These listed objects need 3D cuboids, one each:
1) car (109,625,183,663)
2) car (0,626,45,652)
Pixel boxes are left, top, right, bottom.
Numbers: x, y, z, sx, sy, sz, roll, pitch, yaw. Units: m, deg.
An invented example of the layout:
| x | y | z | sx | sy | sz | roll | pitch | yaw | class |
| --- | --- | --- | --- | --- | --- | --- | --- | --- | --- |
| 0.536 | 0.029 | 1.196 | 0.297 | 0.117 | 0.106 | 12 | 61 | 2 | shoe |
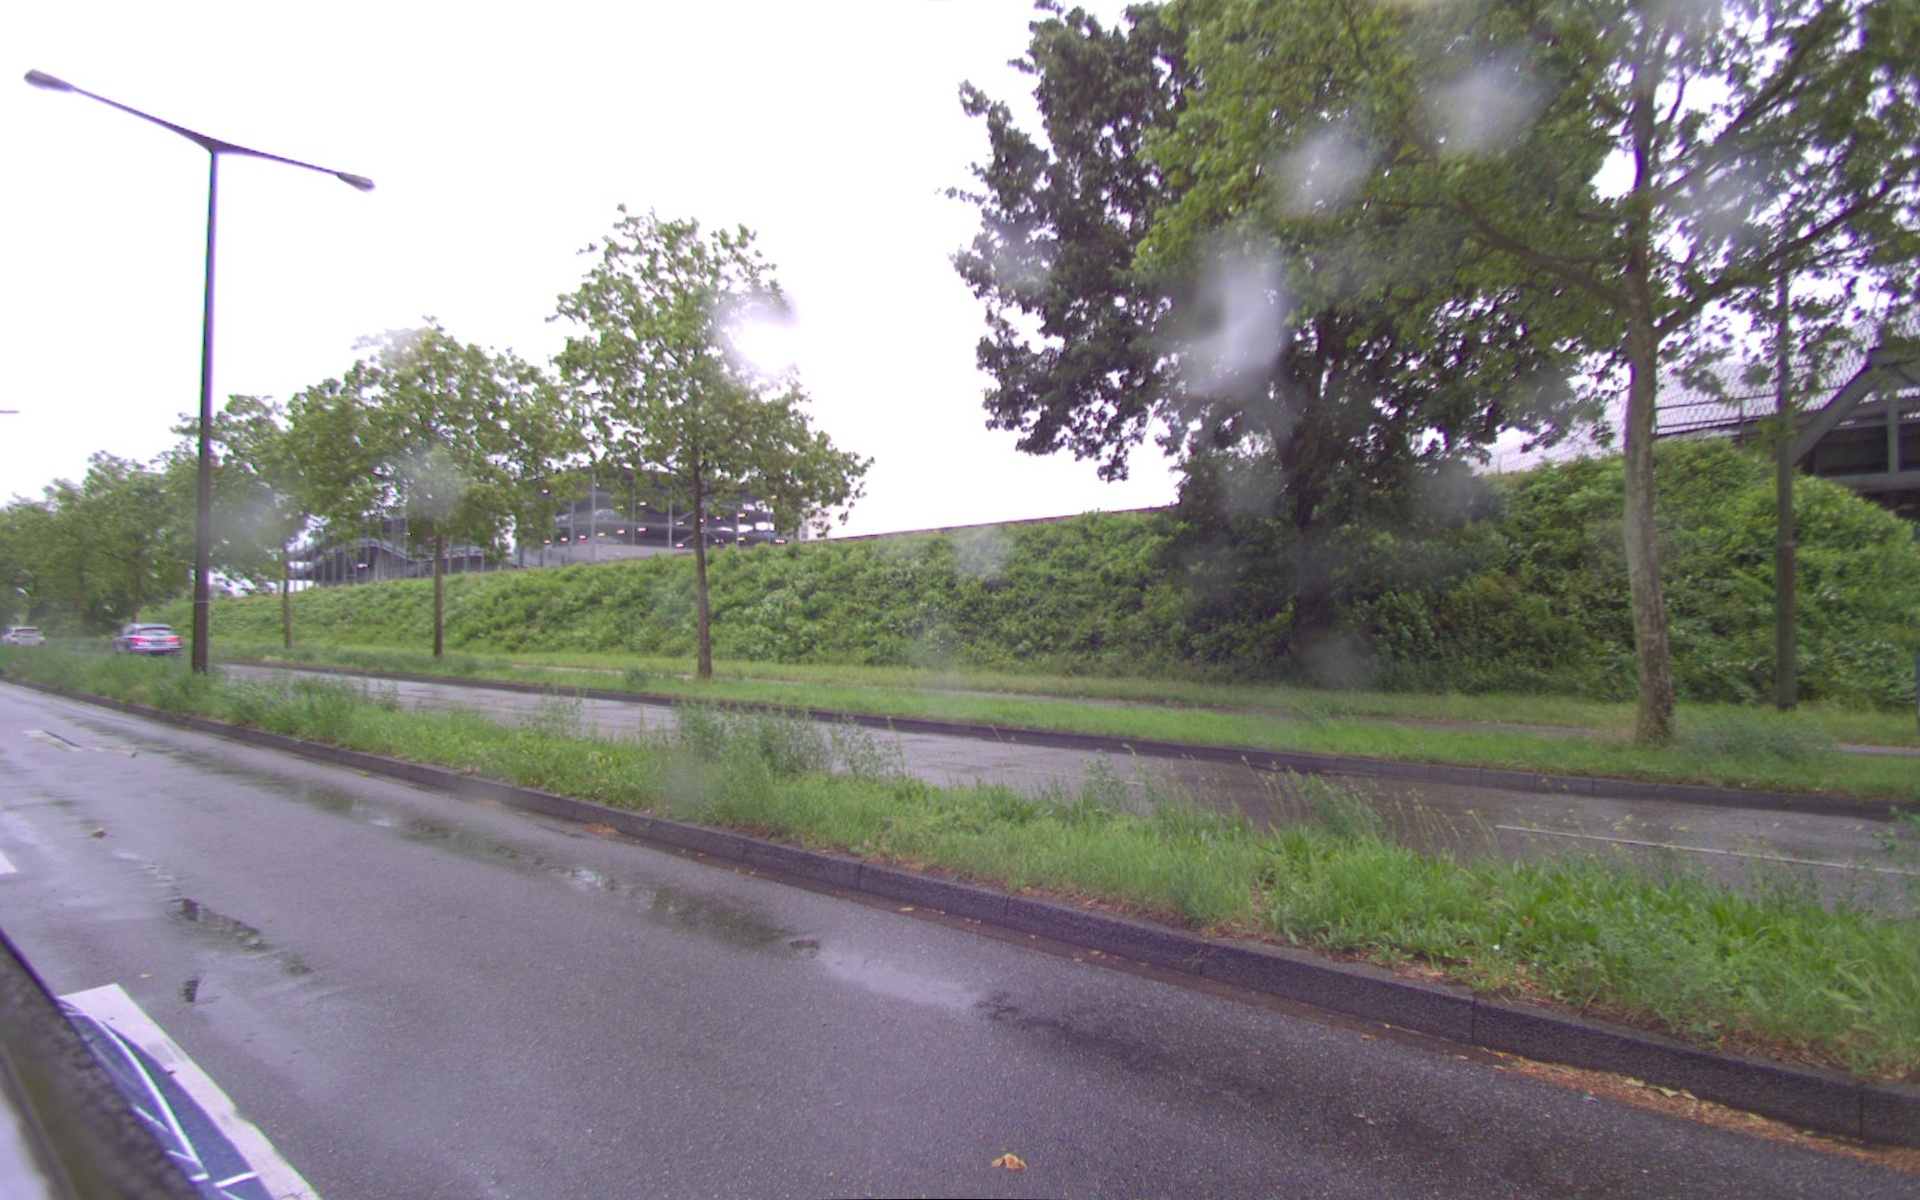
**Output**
| x | y | z | sx | sy | sz | roll | pitch | yaw | class |
| --- | --- | --- | --- | --- | --- | --- | --- | --- | --- |
| -36.146 | 1.932 | 44.888 | 4.518 | 1.601 | 1.836 | -2 | -4 | 43 | car |
| -61.057 | 2.519 | 65.762 | 4.516 | 1.601 | 1.837 | -1 | -3 | 41 | car |
